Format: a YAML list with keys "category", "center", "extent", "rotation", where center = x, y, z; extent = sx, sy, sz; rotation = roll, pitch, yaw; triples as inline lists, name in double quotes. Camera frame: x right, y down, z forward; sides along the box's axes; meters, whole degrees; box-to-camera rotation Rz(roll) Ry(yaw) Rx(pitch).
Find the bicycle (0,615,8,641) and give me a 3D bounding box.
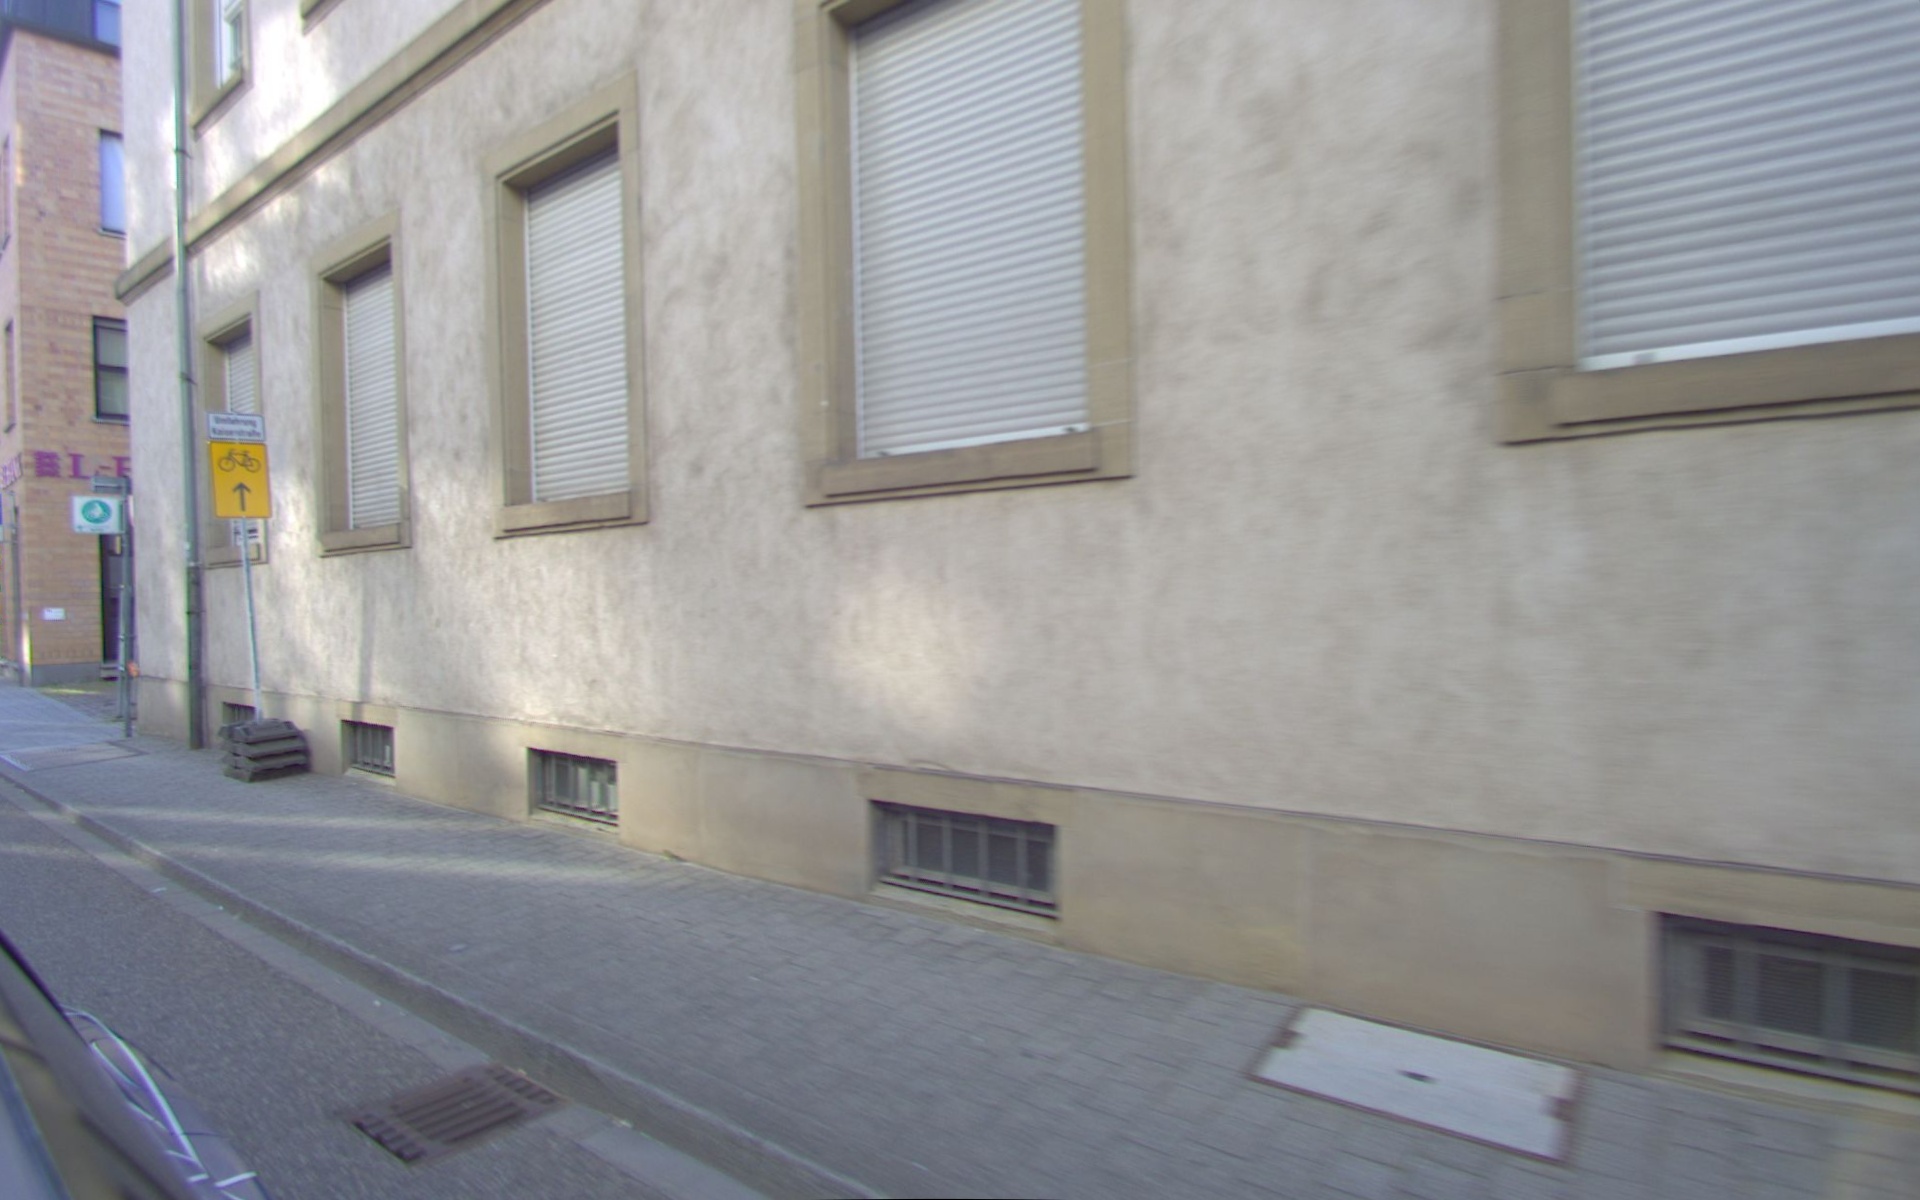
- category: "bicycle"
  center: [-44.330, 1.291, 46.706]
  extent: [0.425, 1.152, 1.693]
  rotation: [-2, 1, -40]
